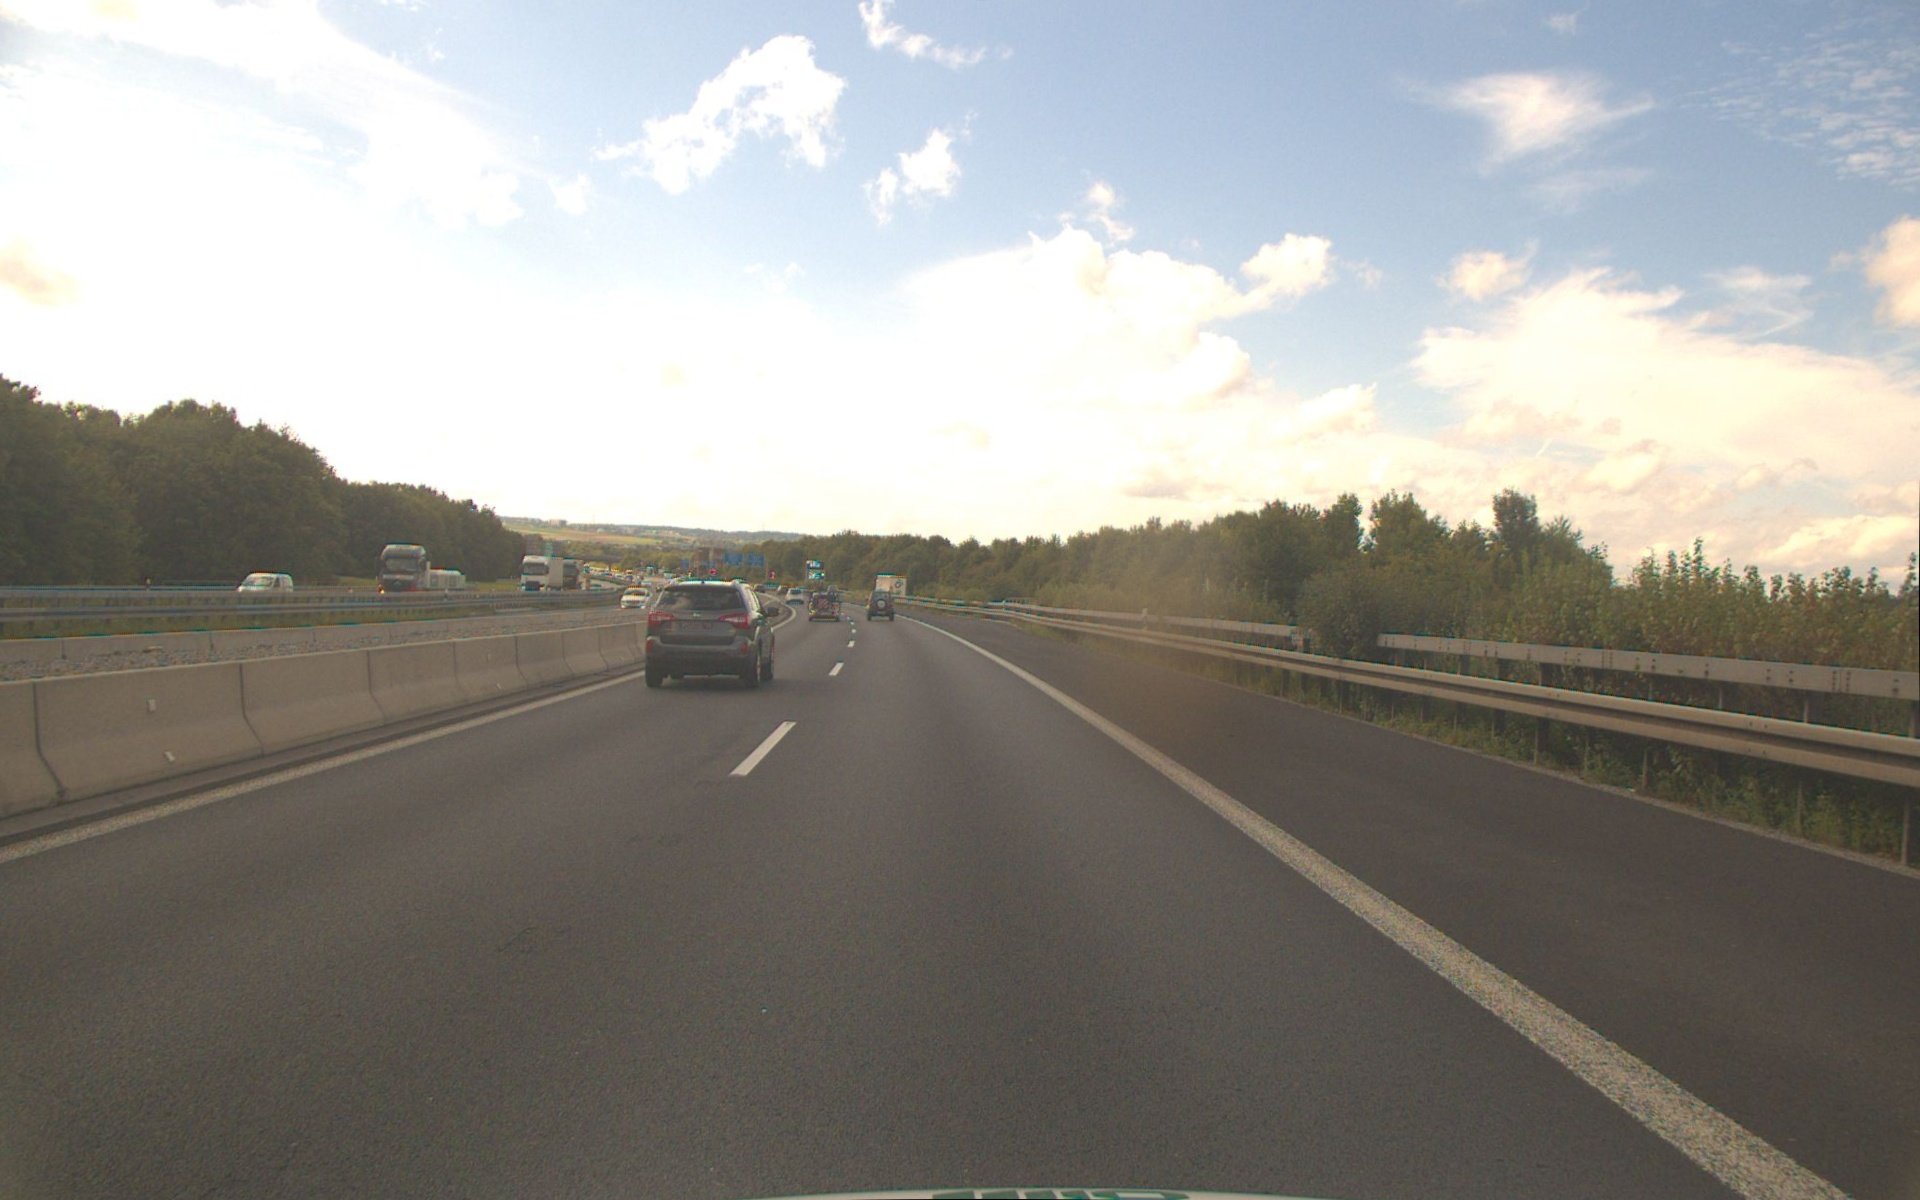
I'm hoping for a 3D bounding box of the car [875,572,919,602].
[{"bbox_3d":[-9.900,-1.991,258.192,4.648,4.341,11.363,1,-1,-13],"label":"car"}]

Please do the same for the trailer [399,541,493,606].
[{"bbox_3d":[-32.990,-1.633,106.663,2.757,3.873,12.181,1,0,-3],"label":"trailer"}]

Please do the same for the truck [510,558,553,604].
[{"bbox_3d":[-42.808,-1.889,165.400,3.258,4.368,6.735,1,-1,-8],"label":"truck"}]

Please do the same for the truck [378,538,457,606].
[{"bbox_3d":[-32.698,-1.664,99.967,2.754,3.893,7.124,1,0,-4],"label":"truck"}]

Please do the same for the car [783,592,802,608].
[{"bbox_3d":[-18.788,0.031,185.852,1.956,1.713,3.992,1,-1,-8],"label":"car"}]

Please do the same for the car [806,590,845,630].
[{"bbox_3d":[-7.542,0.534,93.369,1.990,2.189,3.998,1,0,-2],"label":"car"}]

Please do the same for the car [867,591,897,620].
[{"bbox_3d":[-4.646,0.308,98.075,1.556,1.625,4.091,1,0,-5],"label":"car"}]

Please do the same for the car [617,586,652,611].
[{"bbox_3d":[-22.189,-0.075,112.985,1.679,1.554,4.762,1,-1,-4],"label":"car"}]

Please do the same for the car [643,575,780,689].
[{"bbox_3d":[-4.167,0.514,28.471,1.781,1.766,5.183,1,0,-3],"label":"car"}]

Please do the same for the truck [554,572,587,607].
[{"bbox_3d":[-47.367,-1.201,201.342,2.847,4.038,10.444,1,-1,-8],"label":"truck"}]
